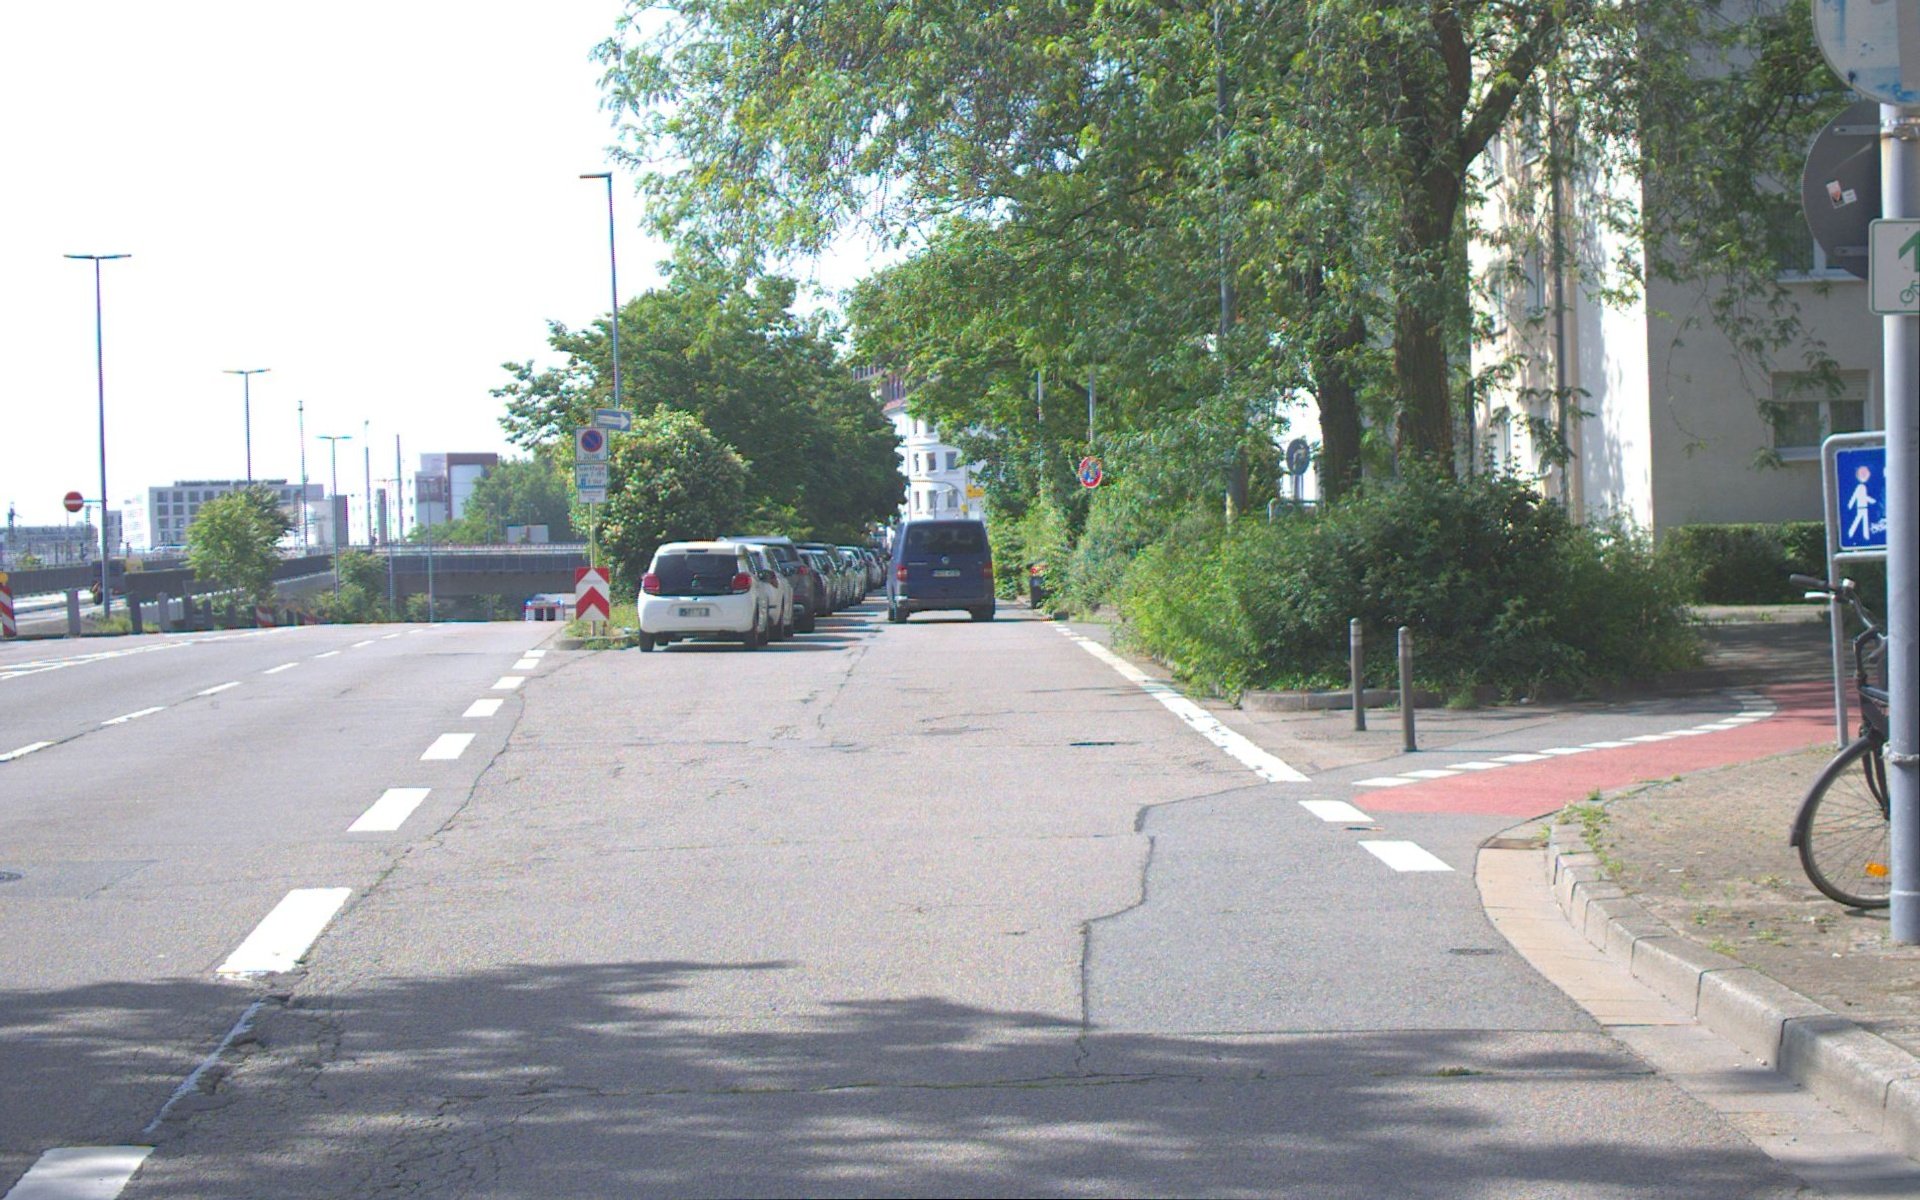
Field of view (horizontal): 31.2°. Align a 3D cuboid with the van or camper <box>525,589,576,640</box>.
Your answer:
[{"bbox_3d":[-23.498,0.816,197.357,2.296,2.779,5.571,-1,1,-1],"label":"van or camper"}]

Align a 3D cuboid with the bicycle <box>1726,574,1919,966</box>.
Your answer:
[{"bbox_3d":[3.108,0.501,11.044,0.702,1.120,1.745,-2,1,-6],"label":"bicycle"}]

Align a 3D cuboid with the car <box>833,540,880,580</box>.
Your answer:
[{"bbox_3d":[-3.975,-1.552,132.707,1.664,1.504,4.008,1,1,0],"label":"car"}]

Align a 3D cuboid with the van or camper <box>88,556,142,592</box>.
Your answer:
[{"bbox_3d":[-33.437,-1.040,136.094,1.466,1.345,4.632,-1,1,-6],"label":"van or camper"}]

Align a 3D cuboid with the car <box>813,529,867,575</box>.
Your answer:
[{"bbox_3d":[-4.042,-1.647,116.566,1.664,1.504,4.008,1,1,0],"label":"car"}]

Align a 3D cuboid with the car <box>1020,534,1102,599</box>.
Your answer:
[{"bbox_3d":[2.342,-0.787,80.669,1.726,1.415,4.000,-3,1,0],"label":"car"}]

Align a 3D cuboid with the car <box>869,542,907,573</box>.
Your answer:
[{"bbox_3d":[-3.902,-2.304,185.849,1.993,1.651,4.000,-1,1,-1],"label":"car"}]

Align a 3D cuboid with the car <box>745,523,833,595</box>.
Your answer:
[{"bbox_3d":[-3.634,-0.897,73.642,1.664,1.468,3.789,1,1,0],"label":"car"}]

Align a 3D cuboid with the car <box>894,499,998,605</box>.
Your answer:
[{"bbox_3d":[-0.245,-0.923,65.203,1.883,1.915,4.008,1,1,0],"label":"car"}]

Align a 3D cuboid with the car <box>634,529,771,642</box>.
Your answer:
[{"bbox_3d":[-3.538,-0.233,47.743,1.619,1.500,3.462,0,1,0],"label":"car"}]

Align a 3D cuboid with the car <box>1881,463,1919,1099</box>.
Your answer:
[{"bbox_3d":[3.251,0.441,6.255,1.703,1.509,4.093,-3,2,-5],"label":"car"}]

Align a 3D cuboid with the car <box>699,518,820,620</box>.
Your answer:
[{"bbox_3d":[-3.417,-0.548,57.878,1.771,1.574,4.187,-2,1,-6],"label":"car"}]

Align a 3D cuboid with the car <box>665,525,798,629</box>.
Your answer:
[{"bbox_3d":[-3.452,-0.384,52.466,1.721,1.500,4.132,1,1,0],"label":"car"}]
